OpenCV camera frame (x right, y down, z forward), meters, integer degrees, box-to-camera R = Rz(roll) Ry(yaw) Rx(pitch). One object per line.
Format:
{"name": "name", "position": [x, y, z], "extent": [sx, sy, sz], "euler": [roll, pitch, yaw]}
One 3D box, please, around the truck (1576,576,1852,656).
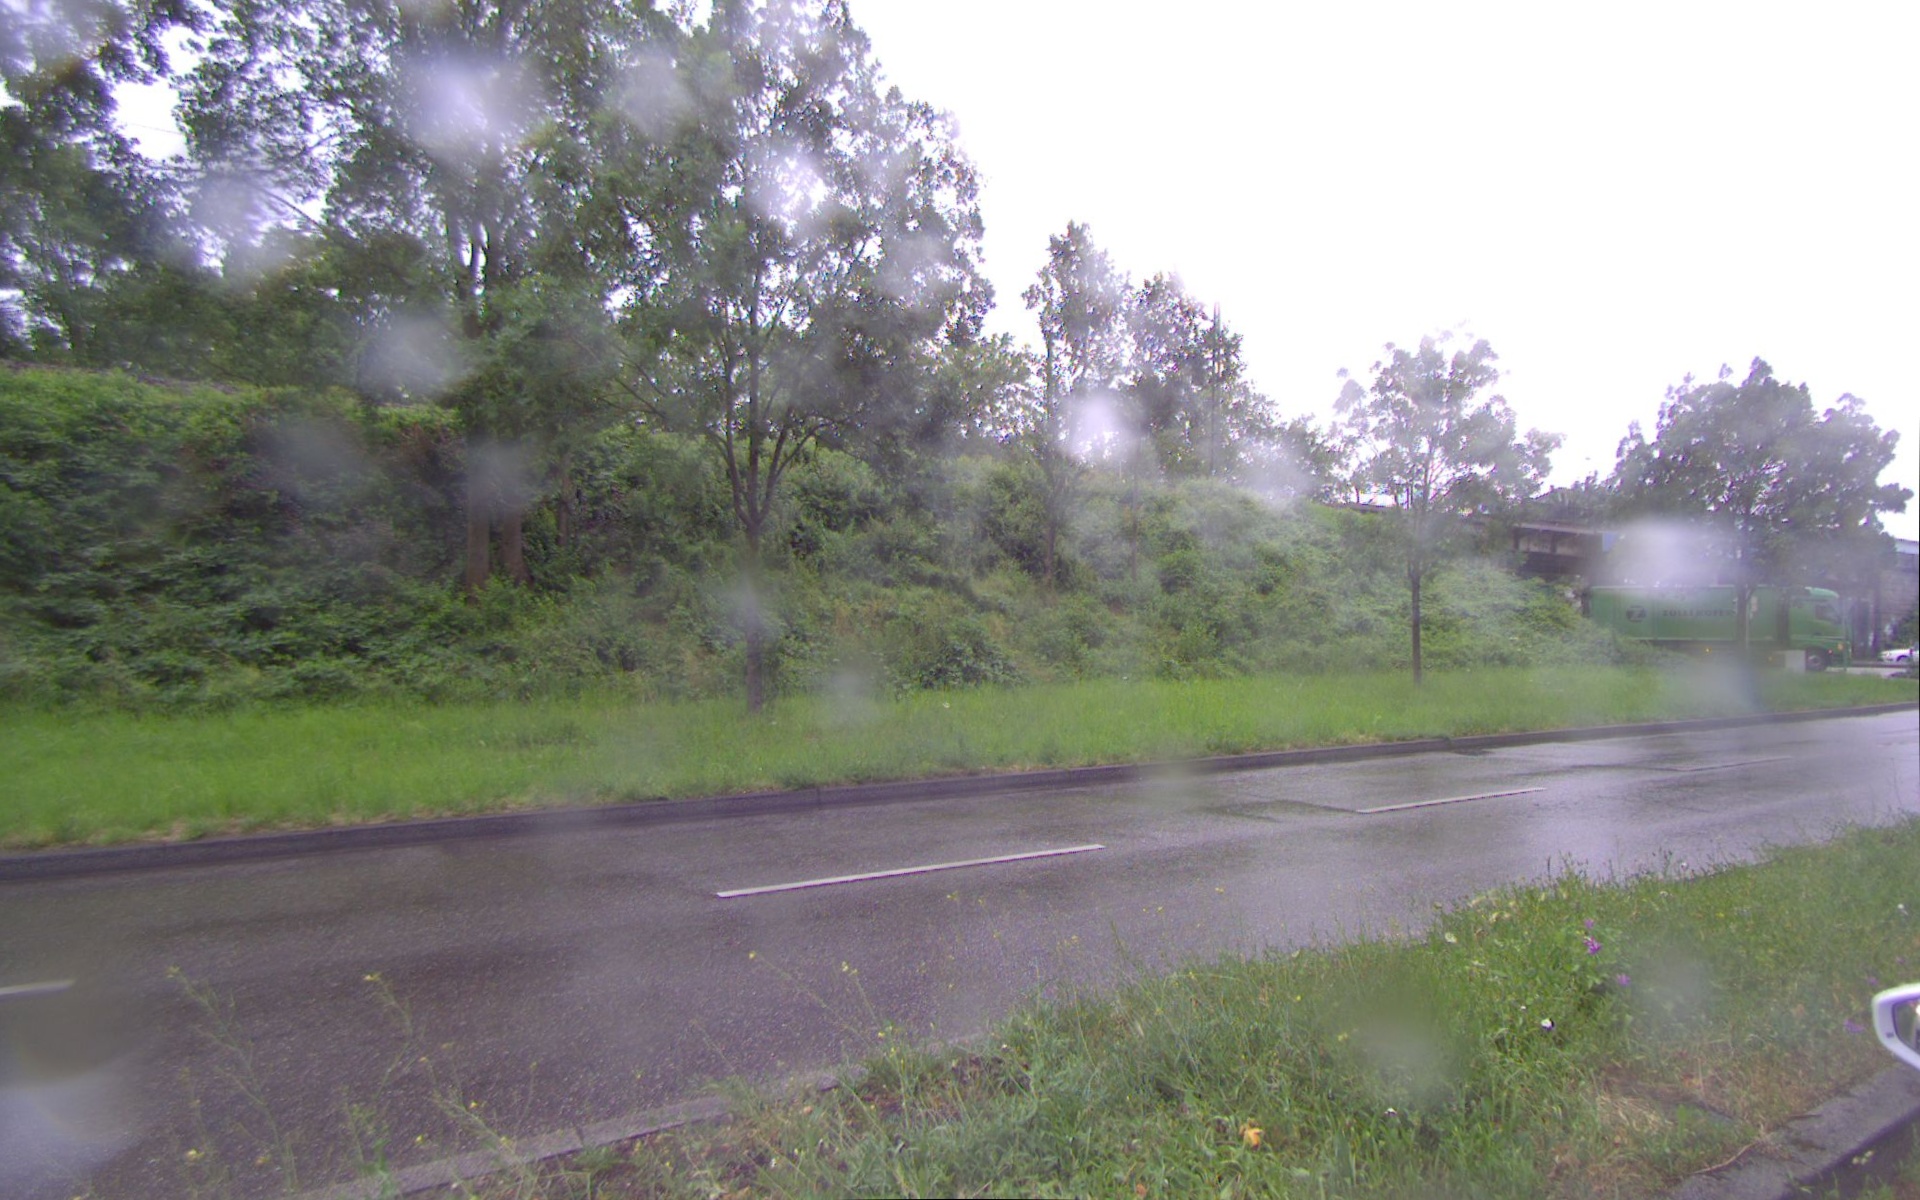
{"name": "truck", "position": [34.336, 0.694, 46.336], "extent": [9.872, 3.416, 2.346], "euler": [0, -1, 25]}

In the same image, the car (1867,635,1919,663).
{"name": "car", "position": [56.770, 2.891, 59.447], "extent": [4.169, 1.617, 1.998], "euler": [0, -2, 26]}
